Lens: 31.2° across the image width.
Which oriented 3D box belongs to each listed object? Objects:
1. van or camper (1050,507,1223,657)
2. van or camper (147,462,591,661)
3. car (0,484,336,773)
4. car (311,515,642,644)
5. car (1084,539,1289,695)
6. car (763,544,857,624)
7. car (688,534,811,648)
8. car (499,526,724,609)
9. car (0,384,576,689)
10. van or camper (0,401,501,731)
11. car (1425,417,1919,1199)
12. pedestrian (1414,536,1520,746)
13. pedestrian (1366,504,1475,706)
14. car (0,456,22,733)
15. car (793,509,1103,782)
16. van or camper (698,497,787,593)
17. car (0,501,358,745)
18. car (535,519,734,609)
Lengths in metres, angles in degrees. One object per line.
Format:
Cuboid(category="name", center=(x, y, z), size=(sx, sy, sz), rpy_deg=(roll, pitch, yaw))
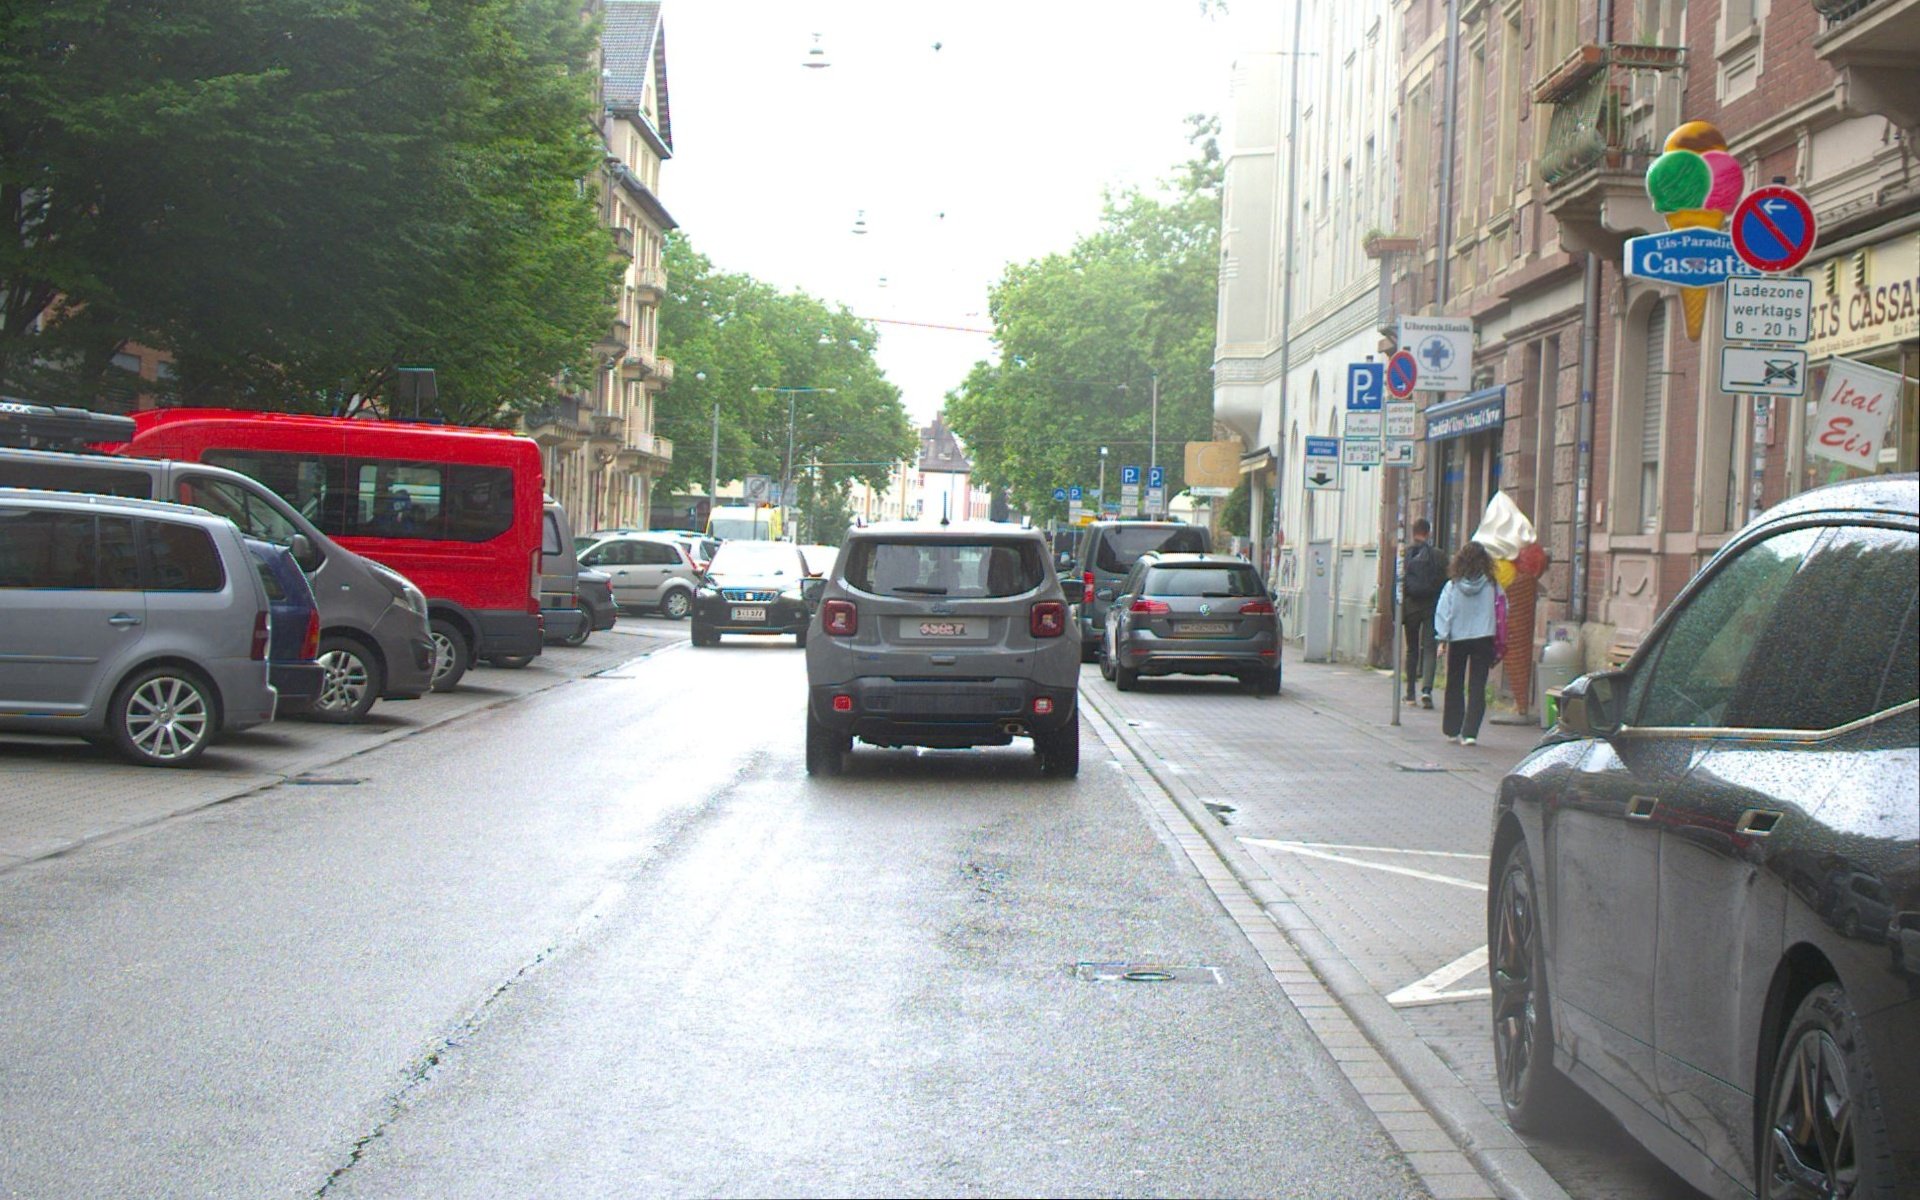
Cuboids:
Cuboid(category="van or camper", center=(2.334, -0.274, 46.700), size=(2.021, 1.884, 5.055), rpy_deg=(1, 1, 0))
Cuboid(category="van or camper", center=(-6.557, -0.414, 38.310), size=(4.434, 1.968, 1.782), rpy_deg=(3, 1, -33))
Cuboid(category="car", center=(-6.354, 0.064, 21.360), size=(4.430, 1.625, 1.845), rpy_deg=(5, 1, -26))
Cuboid(category="car", center=(-6.440, -0.264, 46.012), size=(3.967, 1.442, 1.767), rpy_deg=(3, 1, -40))
Cuboid(category="car", center=(2.399, 0.148, 37.264), size=(1.841, 1.540, 4.004), rpy_deg=(2, 1, -1))
Cuboid(category="car", center=(-2.879, -0.327, 66.445), size=(1.669, 1.460, 4.004), rpy_deg=(2, 1, -1))
Cuboid(category="car", center=(-3.070, -0.157, 50.767), size=(1.669, 1.554, 4.004), rpy_deg=(2, 1, -2))
Cuboid(category="car", center=(-6.360, -0.587, 62.812), size=(3.702, 1.447, 1.685), rpy_deg=(1, 1, -35))
Cuboid(category="car", center=(-6.645, -0.573, 32.056), size=(5.554, 2.532, 2.230), rpy_deg=(2, 1, -27))
Cuboid(category="van or camper", center=(-6.395, -0.289, 26.780), size=(5.008, 2.341, 2.345), rpy_deg=(2, 1, -26))
Cuboid(category="car", center=(2.359, 0.617, 7.161), size=(1.993, 1.773, 4.827), rpy_deg=(2, 1, -1))
Cuboid(category="pedestrian", center=(3.964, 0.308, 26.918), size=(0.679, 1.608, 0.810), rpy_deg=(1, 1, 1))
Cuboid(category="pedestrian", center=(4.536, 0.054, 33.842), size=(0.680, 1.928, 0.808), rpy_deg=(1, -3, 35))
Cuboid(category="car", center=(-6.824, 0.038, 15.135), size=(4.578, 1.779, 2.545), rpy_deg=(5, 1, 0))
Cuboid(category="car", center=(-0.116, 0.256, 23.867), size=(1.898, 1.665, 4.506), rpy_deg=(2, 1, -1))
Cuboid(category="van or camper", center=(-6.257, -1.543, 99.471), size=(2.121, 2.522, 6.874), rpy_deg=(-1, -1, 0))
Cuboid(category="car", center=(-6.556, 0.084, 23.813), size=(4.341, 1.499, 1.755), rpy_deg=(4, 1, -22))
Cuboid(category="car", center=(-6.215, -0.683, 65.691), size=(3.375, 1.648, 1.634), rpy_deg=(1, 1, -32))
